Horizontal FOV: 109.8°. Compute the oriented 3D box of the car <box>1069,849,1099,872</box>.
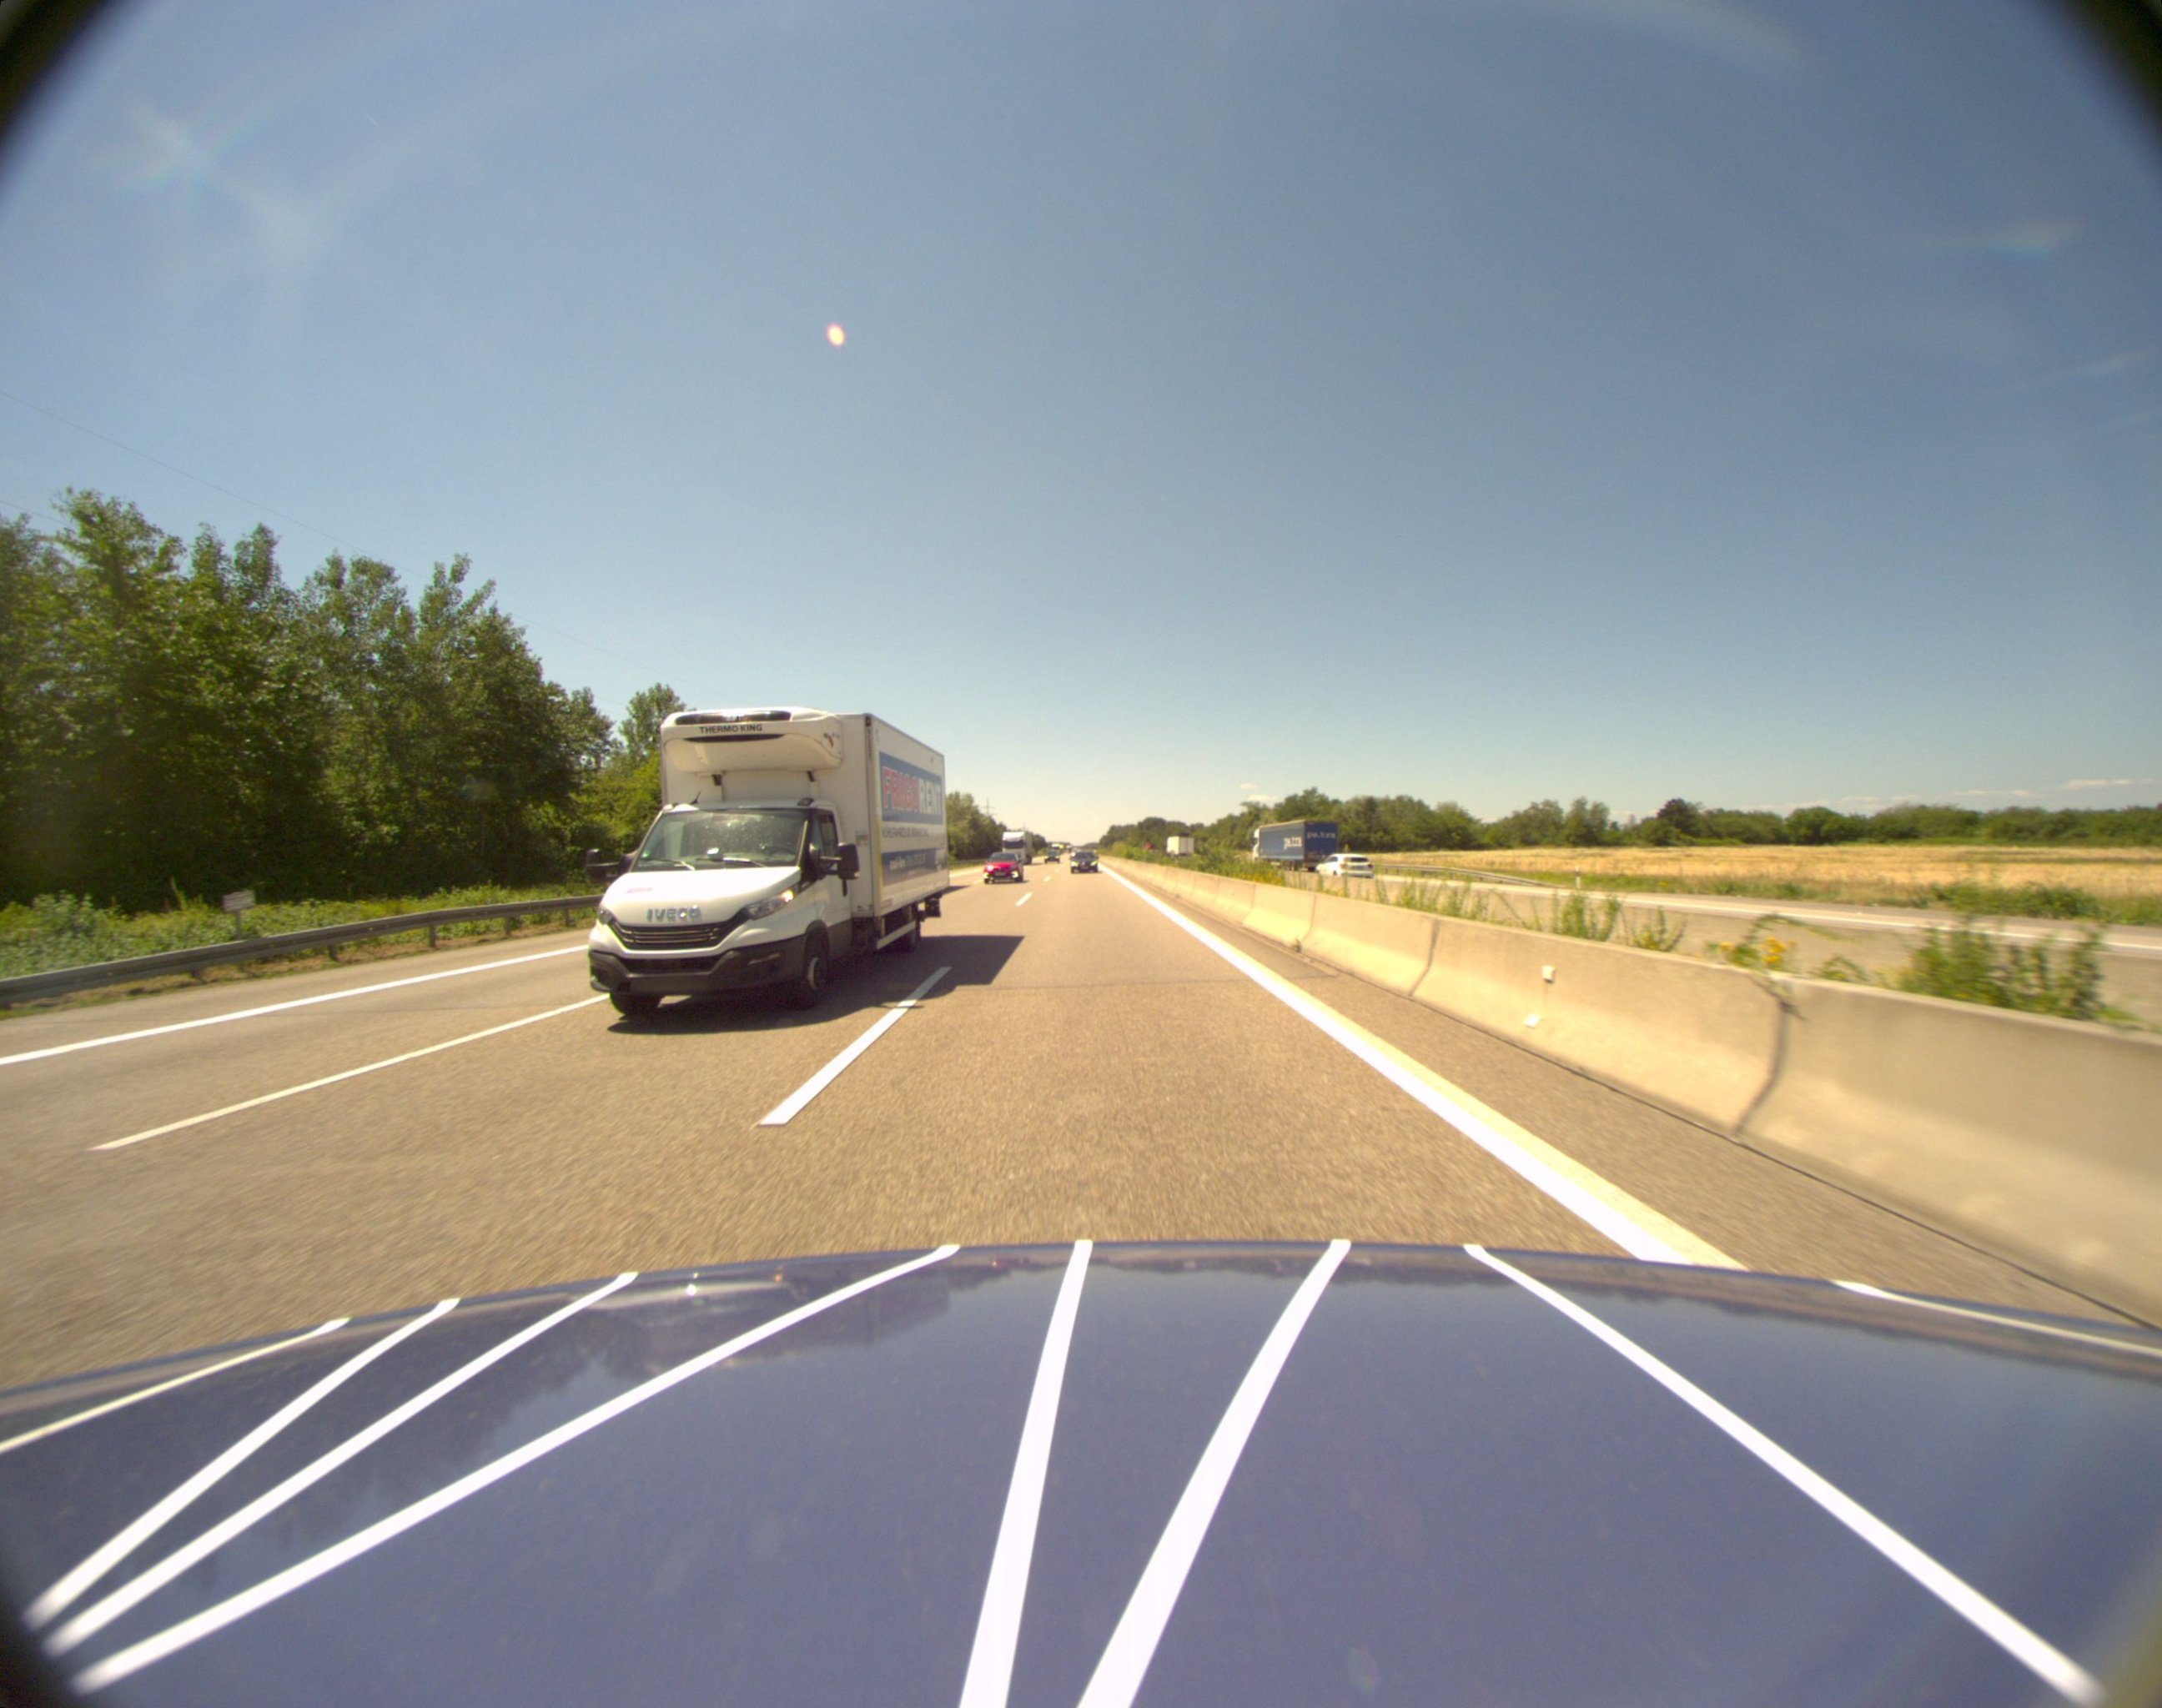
[{"bbox_3d":[0.156,0.378,53.170,1.999,1.462,6.346,0,1,-1],"label":"car"}]

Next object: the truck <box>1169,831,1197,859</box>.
[{"bbox_3d":[17.233,-1.507,129.056,3.258,4.354,10.535,-3,1,0],"label":"truck"}]

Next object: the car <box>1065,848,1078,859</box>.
[{"bbox_3d":[-1.416,-0.105,114.223,1.851,1.596,3.574,-3,1,0],"label":"car"}]

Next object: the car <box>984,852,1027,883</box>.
[{"bbox_3d":[-3.853,0.657,39.291,1.671,1.439,4.000,-3,1,1],"label":"car"}]

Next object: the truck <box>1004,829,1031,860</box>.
[{"bbox_3d":[-7.633,-1.170,91.704,2.457,3.533,6.456,-3,1,1],"label":"truck"}]

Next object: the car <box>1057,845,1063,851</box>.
[{"bbox_3d":[-7.243,-1.956,259.433,1.999,2.002,3.999,-3,1,-1],"label":"car"}]

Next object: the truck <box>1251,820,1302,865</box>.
[{"bbox_3d":[17.813,-1.052,69.542,3.239,3.873,5.157,-3,1,0],"label":"truck"}]

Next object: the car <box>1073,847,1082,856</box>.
[{"bbox_3d":[-0.590,-0.502,143.120,1.558,1.440,3.776,-3,1,1],"label":"car"}]

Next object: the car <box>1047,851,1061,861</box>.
[{"bbox_3d":[-3.446,0.276,96.914,1.545,1.098,3.054,-3,2,1],"label":"car"}]

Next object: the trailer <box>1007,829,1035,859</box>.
[{"bbox_3d":[-7.541,-1.250,97.077,2.457,3.533,9.717,-3,1,1],"label":"trailer"}]

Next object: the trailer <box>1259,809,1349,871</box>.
[{"bbox_3d":[17.759,-1.117,61.823,3.273,4.354,13.499,-3,1,0],"label":"trailer"}]

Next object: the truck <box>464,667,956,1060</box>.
[{"bbox_3d":[-3.885,0.038,10.571,2.784,3.328,7.812,-3,1,0],"label":"truck"}]

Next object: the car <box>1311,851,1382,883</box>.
[{"bbox_3d":[13.101,0.598,37.794,1.818,1.401,4.670,1,1,-1],"label":"car"}]

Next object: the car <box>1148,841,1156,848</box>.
[{"bbox_3d":[18.054,-2.481,193.161,1.597,1.836,3.556,-1,1,0],"label":"car"}]
